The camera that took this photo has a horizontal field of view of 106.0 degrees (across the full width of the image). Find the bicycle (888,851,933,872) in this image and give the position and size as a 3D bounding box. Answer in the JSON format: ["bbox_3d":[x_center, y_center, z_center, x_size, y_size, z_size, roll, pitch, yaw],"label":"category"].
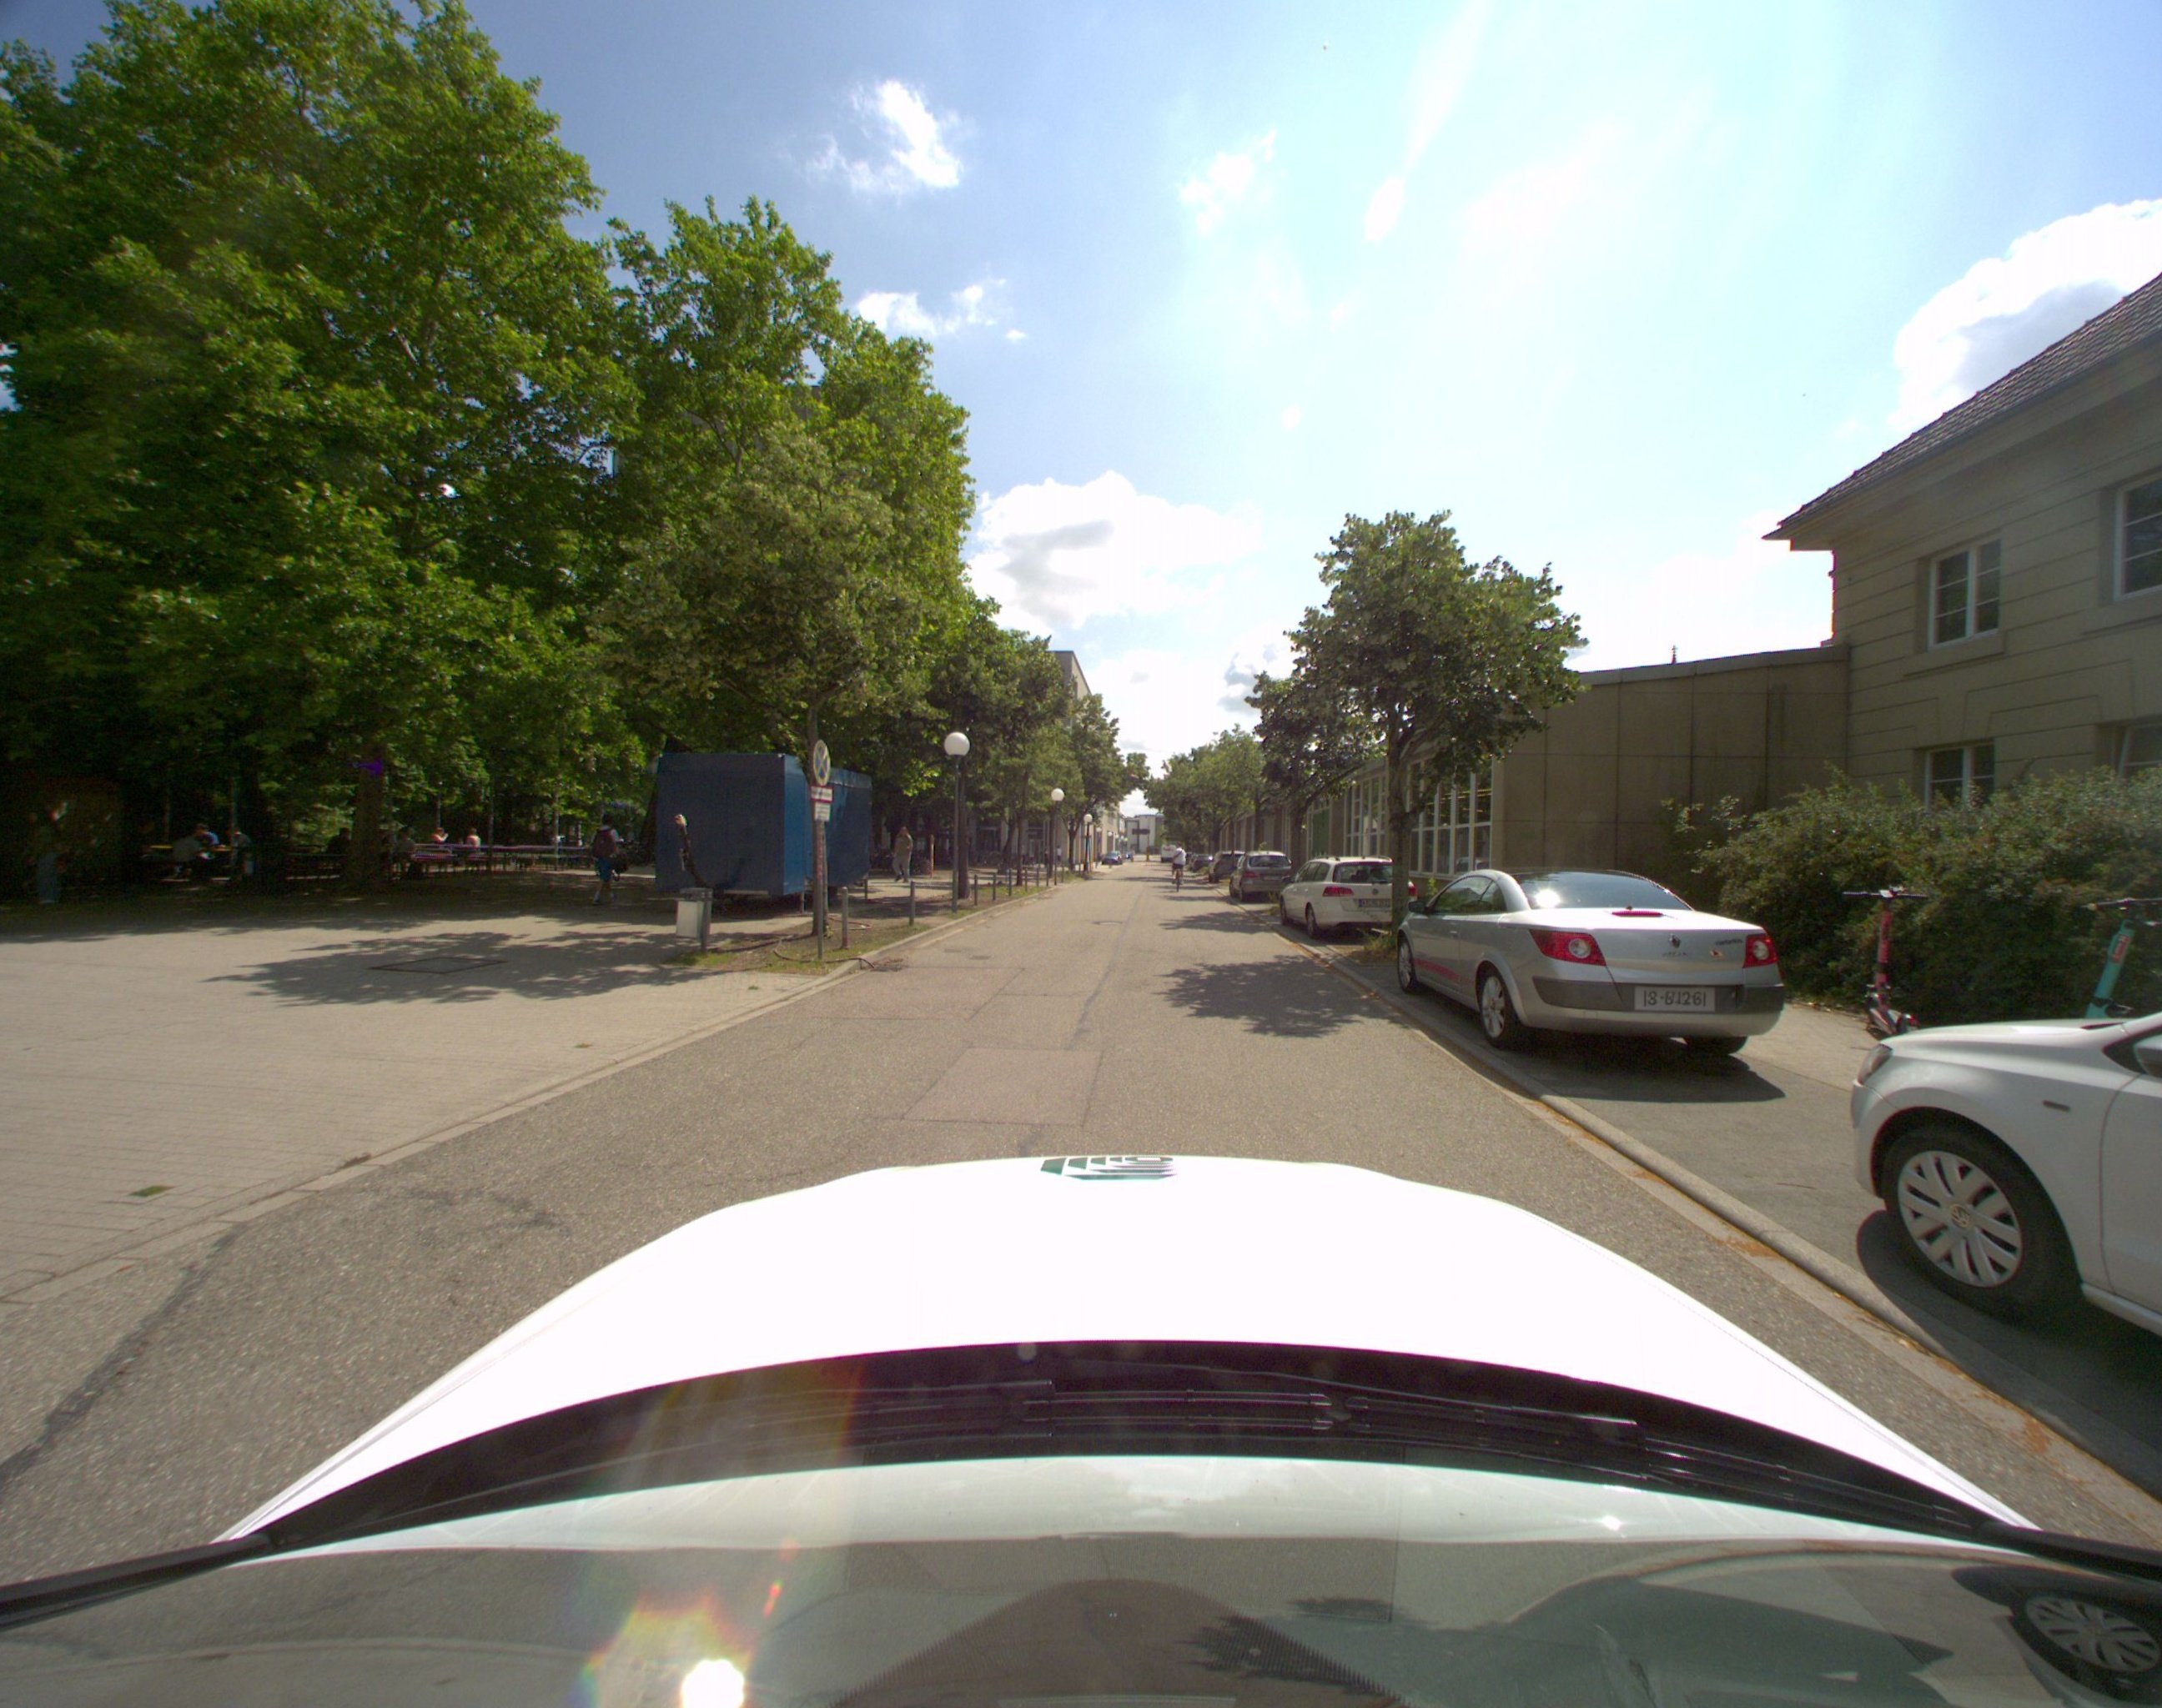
[{"bbox_3d":[-8.720,0.368,41.735,2.157,1.008,0.672,2,0,-25],"label":"bicycle"}]

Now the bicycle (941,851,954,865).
[{"bbox_3d":[-10.242,0.303,62.303,0.473,1.032,1.853,2,0,6],"label":"bicycle"}]

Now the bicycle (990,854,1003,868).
[{"bbox_3d":[-6.729,0.558,64.986,0.549,1.086,1.976,3,0,6],"label":"bicycle"}]

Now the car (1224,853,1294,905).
[{"bbox_3d":[5.880,0.773,27.279,1.696,1.574,4.145,0,0,4],"label":"car"}]

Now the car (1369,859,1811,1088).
[{"bbox_3d":[3.994,0.786,7.273,1.639,1.390,3.993,0,1,3],"label":"car"}]

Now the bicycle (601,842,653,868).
[{"bbox_3d":[-20.705,0.036,37.158,2.004,1.119,0.584,1,0,-4],"label":"bicycle"}]

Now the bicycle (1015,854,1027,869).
[{"bbox_3d":[-4.729,0.580,64.323,0.549,1.086,1.976,3,0,6],"label":"bicycle"}]

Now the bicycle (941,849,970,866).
[{"bbox_3d":[-9.102,0.262,59.107,2.025,1.254,0.582,1,0,-27],"label":"bicycle"}]

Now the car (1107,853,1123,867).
[{"bbox_3d":[4.005,0.702,95.288,1.623,1.485,4.184,2,0,6],"label":"car"}]

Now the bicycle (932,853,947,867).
[{"bbox_3d":[-11.264,0.453,64.829,0.549,1.086,1.976,3,0,6],"label":"bicycle"}]

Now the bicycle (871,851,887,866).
[{"bbox_3d":[-16.238,0.361,65.389,0.549,1.086,1.976,3,0,6],"label":"bicycle"}]

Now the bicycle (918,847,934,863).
[{"bbox_3d":[-12.273,0.079,64.578,0.522,1.253,2.386,1,0,7],"label":"bicycle"}]

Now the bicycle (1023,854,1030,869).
[{"bbox_3d":[-3.887,0.530,57.943,0.381,1.025,1.811,2,0,-7],"label":"bicycle"}]

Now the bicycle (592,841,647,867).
[{"bbox_3d":[-20.173,-0.005,35.608,2.004,1.119,0.584,1,0,-4],"label":"bicycle"}]

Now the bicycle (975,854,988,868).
[{"bbox_3d":[-7.902,0.524,64.746,0.549,1.086,1.976,3,0,6],"label":"bicycle"}]

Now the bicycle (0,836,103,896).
[{"bbox_3d":[-19.447,0.229,15.245,1.356,1.077,0.412,3,-3,-39],"label":"bicycle"}]

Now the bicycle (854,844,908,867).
[{"bbox_3d":[-11.871,0.096,48.407,2.921,1.220,0.873,2,0,-37],"label":"bicycle"}]

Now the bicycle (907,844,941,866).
[{"bbox_3d":[-11.195,0.086,58.021,2.296,1.450,0.601,2,0,-28],"label":"bicycle"}]

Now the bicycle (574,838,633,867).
[{"bbox_3d":[-19.486,-0.063,33.286,2.004,1.119,0.584,1,0,-4],"label":"bicycle"}]

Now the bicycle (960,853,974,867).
[{"bbox_3d":[-9.075,0.498,64.752,0.549,1.086,1.976,3,0,6],"label":"bicycle"}]

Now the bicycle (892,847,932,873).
[{"bbox_3d":[-7.801,0.265,37.598,1.774,1.132,0.457,2,0,-13],"label":"bicycle"}]

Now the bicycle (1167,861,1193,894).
[{"bbox_3d":[3.865,0.881,32.098,0.878,1.199,2.753,2,0,5],"label":"bicycle"}]

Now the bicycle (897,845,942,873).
[{"bbox_3d":[-7.943,0.255,40.080,2.055,1.234,0.805,4,0,-13],"label":"bicycle"}]

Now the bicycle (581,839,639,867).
[{"bbox_3d":[-19.701,-0.042,34.101,2.004,1.119,0.584,1,0,-4],"label":"bicycle"}]

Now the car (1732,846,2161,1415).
[{"bbox_3d":[3.562,0.730,1.572,1.580,1.466,3.992,1,0,3],"label":"car"}]

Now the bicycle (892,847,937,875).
[{"bbox_3d":[-8.011,0.317,39.135,2.055,1.234,0.805,3,0,-13],"label":"bicycle"}]

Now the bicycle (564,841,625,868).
[{"bbox_3d":[-19.283,0.022,32.324,2.004,1.008,0.584,1,0,-4],"label":"bicycle"}]

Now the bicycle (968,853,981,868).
[{"bbox_3d":[-8.469,0.511,64.728,0.549,1.086,1.976,3,0,6],"label":"bicycle"}]

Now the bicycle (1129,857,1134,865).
[{"bbox_3d":[6.940,0.941,111.163,0.682,1.130,1.890,1,0,4],"label":"bicycle"}]

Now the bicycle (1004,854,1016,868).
[{"bbox_3d":[-5.654,0.569,64.596,0.549,1.086,1.976,3,0,6],"label":"bicycle"}]

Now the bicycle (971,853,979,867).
[{"bbox_3d":[-7.822,0.453,60.087,0.474,0.965,1.653,2,0,-5],"label":"bicycle"}]

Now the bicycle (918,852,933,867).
[{"bbox_3d":[-12.432,0.434,65.060,0.549,1.086,1.976,3,0,6],"label":"bicycle"}]

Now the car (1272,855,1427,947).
[{"bbox_3d":[4.928,0.774,15.637,1.718,1.467,4.677,0,0,4],"label":"car"}]

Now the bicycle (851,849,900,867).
[{"bbox_3d":[-12.467,0.224,49.408,2.746,1.003,0.873,2,0,-37],"label":"bicycle"}]

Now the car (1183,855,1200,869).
[{"bbox_3d":[12.785,0.884,94.144,1.849,1.574,4.007,0,0,6],"label":"car"}]
